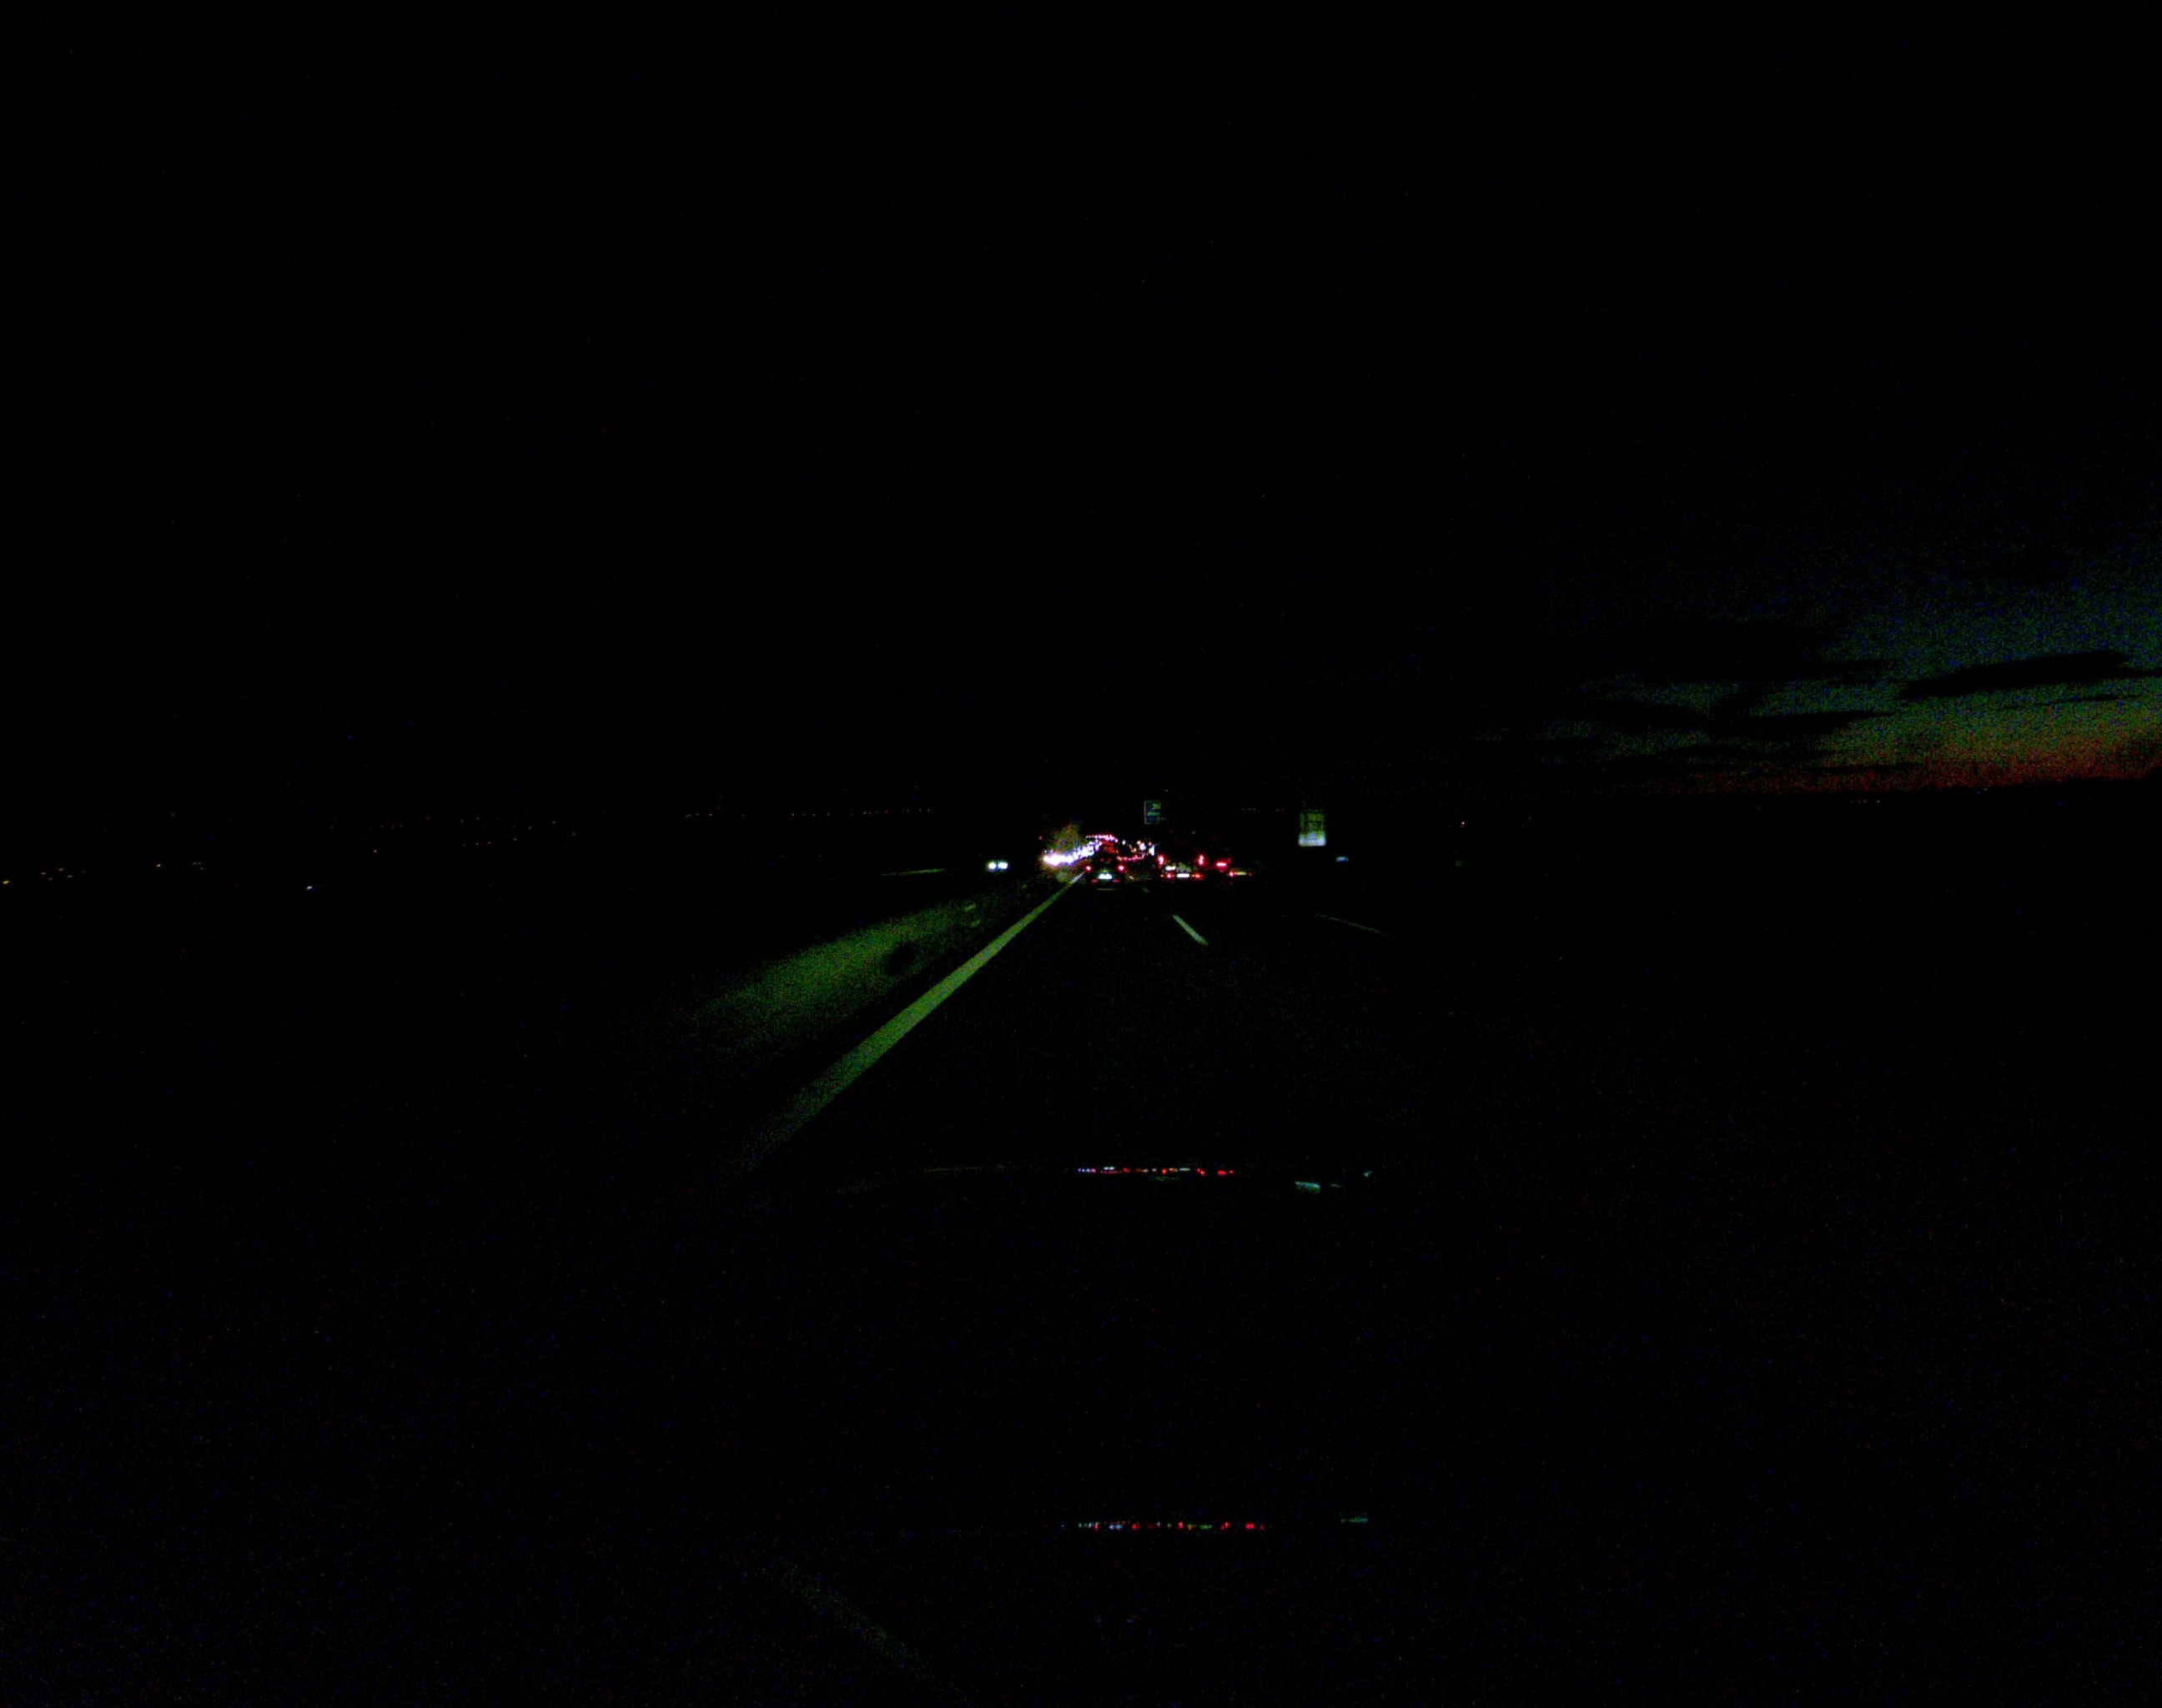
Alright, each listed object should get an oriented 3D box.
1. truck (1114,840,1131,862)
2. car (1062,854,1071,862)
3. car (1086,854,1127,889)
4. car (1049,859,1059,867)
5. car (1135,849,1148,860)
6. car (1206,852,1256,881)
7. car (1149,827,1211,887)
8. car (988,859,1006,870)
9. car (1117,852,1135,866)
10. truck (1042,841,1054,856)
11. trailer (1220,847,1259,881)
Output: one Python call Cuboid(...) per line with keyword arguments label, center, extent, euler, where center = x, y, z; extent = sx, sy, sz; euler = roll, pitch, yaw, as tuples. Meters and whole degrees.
Cuboid(label="truck", center=(8.008, -0.529, 156.578), extent=(2.772, 3.955, 7.993), euler=(-2, 0, 0))
Cuboid(label="car", center=(-3.345, 0.937, 186.084), extent=(1.805, 1.643, 4.160), euler=(-2, 0, 2))
Cuboid(label="car", center=(1.180, 0.787, 37.485), extent=(1.787, 1.469, 3.775), euler=(-1, 0, 2))
Cuboid(label="car", center=(-6.021, 1.882, 179.088), extent=(1.805, 1.643, 4.160), euler=(-2, 0, 2))
Cuboid(label="car", center=(12.508, 0.156, 168.811), extent=(2.342, 2.075, 4.725), euler=(-2, 0, 2))
Cuboid(label="car", center=(8.545, 0.672, 46.745), extent=(2.154, 1.563, 4.725), euler=(-1, 0, 2))
Cuboid(label="car", center=(4.591, 0.105, 38.668), extent=(2.342, 2.535, 5.704), euler=(-2, 0, 2))
Cuboid(label="car", center=(-12.885, 1.632, 124.721), extent=(1.987, 1.478, 5.045), euler=(-4, 0, 1))
Cuboid(label="car", center=(6.412, 0.662, 116.725), extent=(2.342, 1.914, 4.725), euler=(-2, 0, 2))
Cuboid(label="truck", center=(-9.434, -1.500, 233.045), extent=(2.772, 3.955, 7.993), euler=(-2, 0, 0))
Cuboid(label="trailer", center=(8.358, 0.518, 43.109), extent=(1.560, 1.693, 2.822), euler=(-2, 0, 2))
